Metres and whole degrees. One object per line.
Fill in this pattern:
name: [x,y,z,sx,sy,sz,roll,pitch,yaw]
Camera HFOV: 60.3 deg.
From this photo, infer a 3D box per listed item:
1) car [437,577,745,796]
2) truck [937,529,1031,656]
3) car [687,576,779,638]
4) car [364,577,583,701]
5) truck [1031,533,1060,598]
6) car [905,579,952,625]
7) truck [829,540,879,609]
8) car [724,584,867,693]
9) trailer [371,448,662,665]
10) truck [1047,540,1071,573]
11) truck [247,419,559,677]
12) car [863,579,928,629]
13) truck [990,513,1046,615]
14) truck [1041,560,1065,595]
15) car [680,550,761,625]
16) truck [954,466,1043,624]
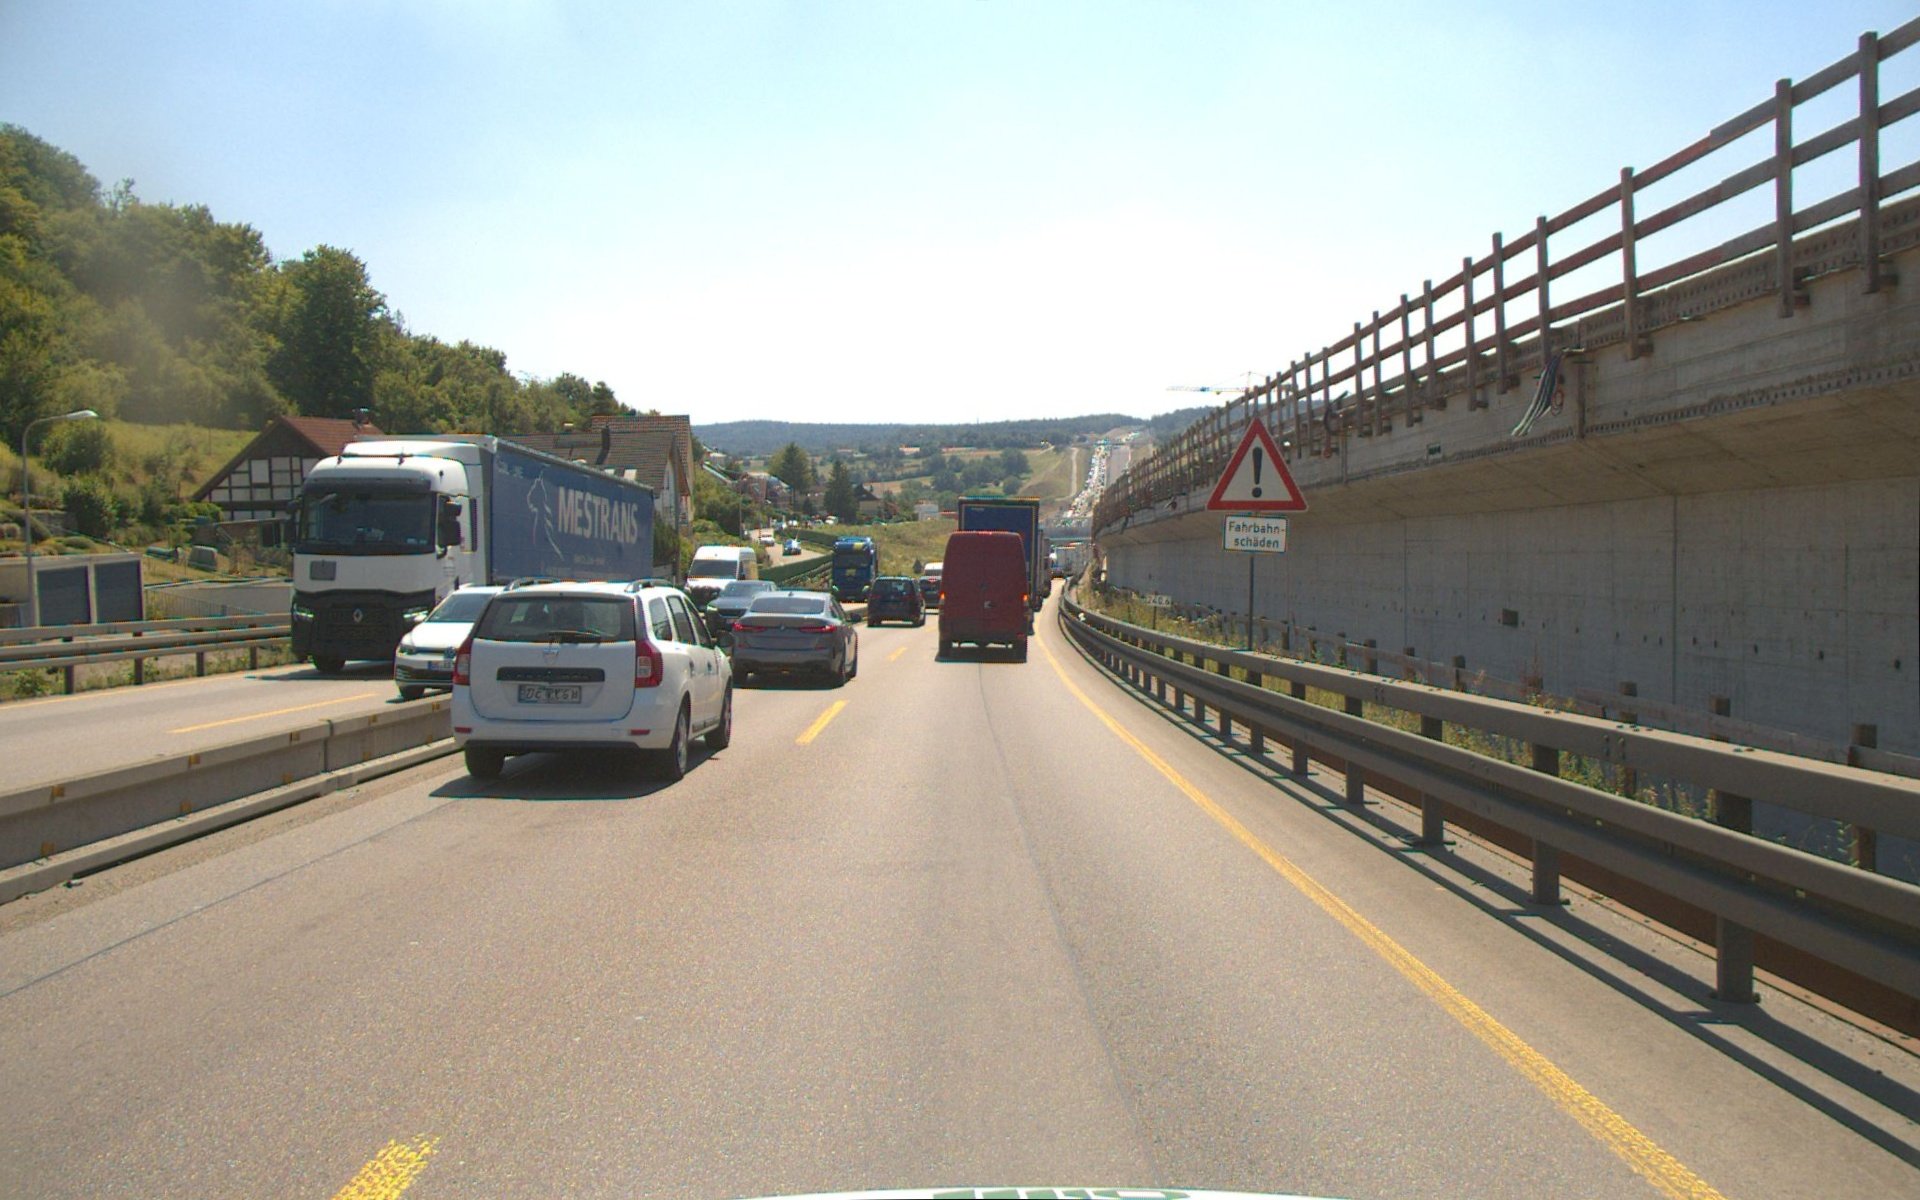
car: [-2.926,0.633,14.014,1.618,1.509,4.266,-2,0,0]
truck: [0.534,-0.125,36.382,1.952,2.624,4.000,0,-1,1]
car: [-6.098,0.157,44.851,1.812,1.573,4.559,0,1,1]
car: [-6.599,0.471,22.884,1.636,1.562,4.192,0,1,2]
truck: [6.036,-2.420,116.970,1.951,4.458,4.002,0,-1,4]
car: [-1.288,0.110,69.481,1.693,1.870,4.001,0,-1,3]
truck: [-6.456,-1.514,101.687,2.456,4.035,5.176,0,-1,3]
car: [-2.531,0.594,26.397,1.758,1.511,4.049,3,-1,1]
trailer: [-9.543,-0.890,37.509,3.070,4.151,11.822,0,0,2]
truck: [14.565,-6.367,242.522,3.394,4.458,8.560,0,-1,4]
truck: [-9.823,-0.869,30.119,3.070,4.151,6.882,0,0,3]
car: [-2.137,0.147,55.923,1.772,1.636,3.721,0,-1,4]
truck: [2.983,-1.726,85.603,2.728,4.900,9.686,0,-1,2]
truck: [12.420,-2.996,220.857,3.004,4.458,8.560,0,-1,4]
car: [-8.854,-0.460,61.595,1.963,2.649,5.981,0,1,2]
truck: [1.353,-1.630,56.055,2.728,4.900,9.686,0,-1,2]
